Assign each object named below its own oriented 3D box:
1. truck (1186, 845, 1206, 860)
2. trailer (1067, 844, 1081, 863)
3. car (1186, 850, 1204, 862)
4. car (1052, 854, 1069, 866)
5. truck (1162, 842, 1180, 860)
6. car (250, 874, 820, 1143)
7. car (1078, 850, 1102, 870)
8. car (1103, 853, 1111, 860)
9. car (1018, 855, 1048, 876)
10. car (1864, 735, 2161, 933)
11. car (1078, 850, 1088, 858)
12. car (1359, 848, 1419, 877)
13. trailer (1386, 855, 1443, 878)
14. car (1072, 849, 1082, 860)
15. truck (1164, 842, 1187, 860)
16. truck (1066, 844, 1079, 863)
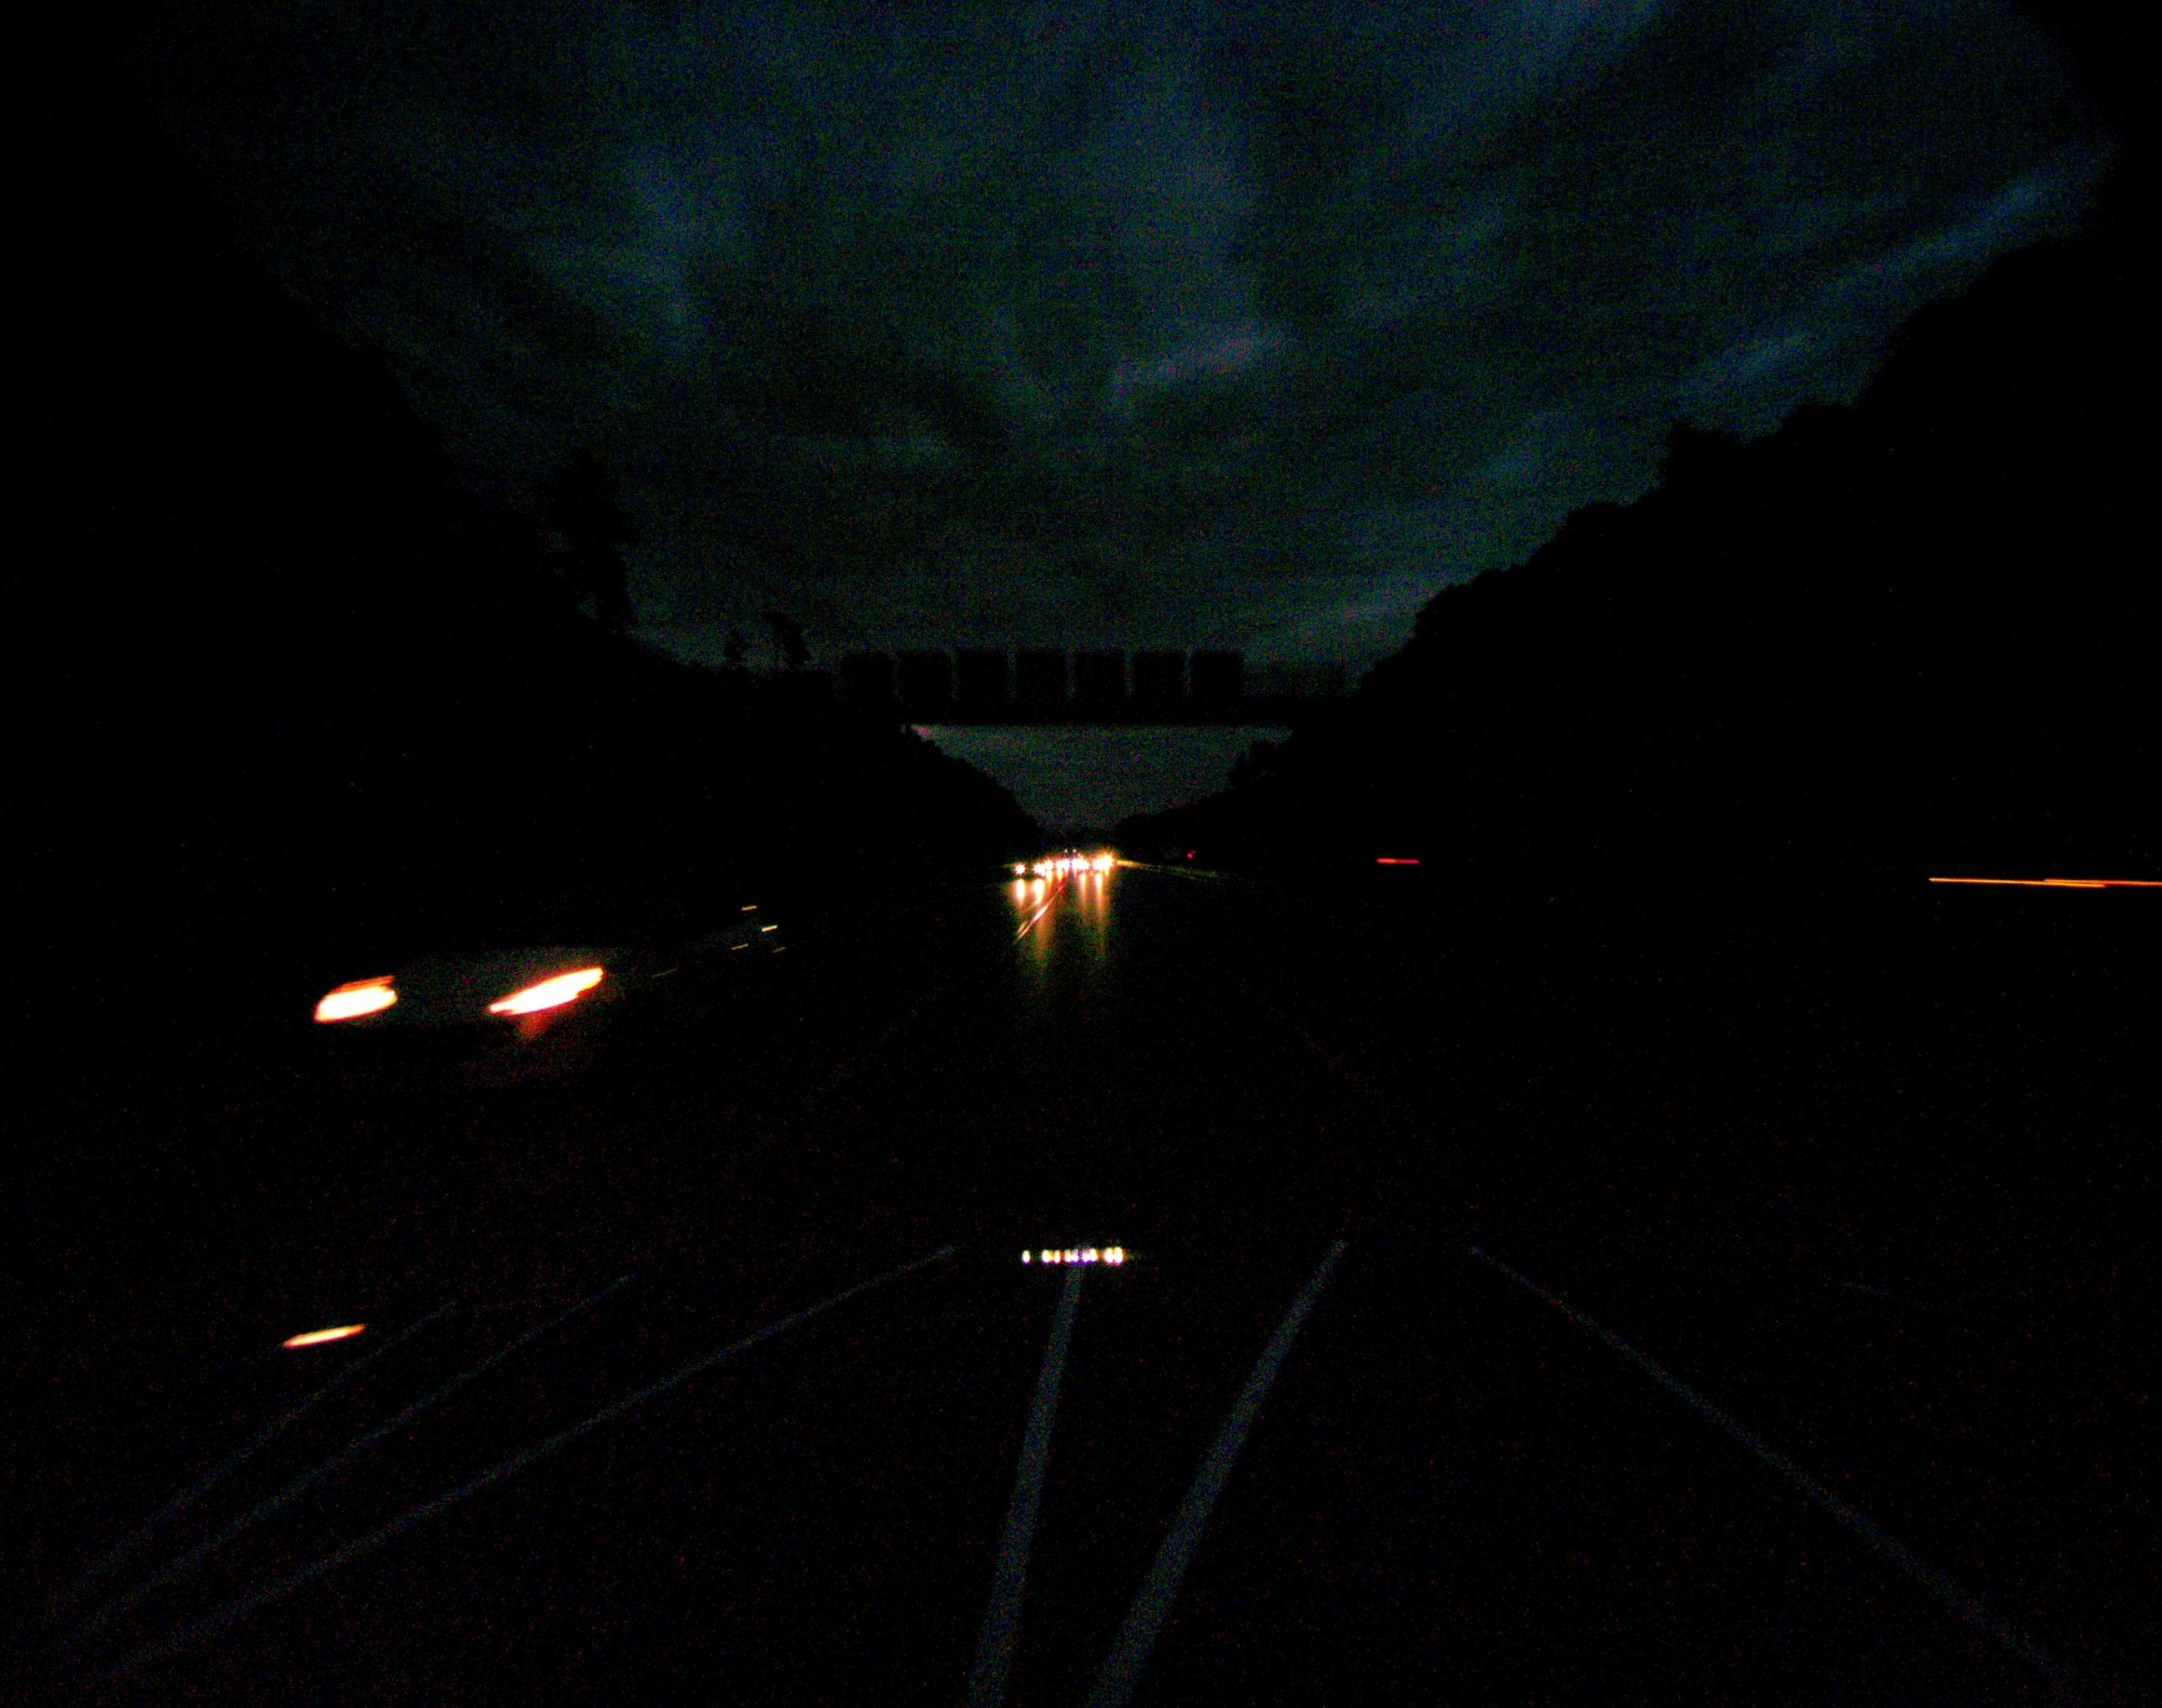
[{"bbox_3d":[20.259,-0.179,134.342,2.467,2.495,9.756,-2,0,2],"label":"truck"},{"bbox_3d":[-1.622,-0.309,175.379,2.489,4.050,13.503,-2,1,2],"label":"trailer"},{"bbox_3d":[15.792,0.267,105.282,1.740,1.705,4.714,-1,0,0],"label":"car"},{"bbox_3d":[-2.537,0.737,95.054,1.695,1.481,4.949,-1,0,2],"label":"car"},{"bbox_3d":[21.057,-0.700,177.501,3.389,3.980,6.879,-1,0,0],"label":"truck"},{"bbox_3d":[-3.975,0.969,6.682,1.830,1.467,4.398,0,0,0],"label":"car"},{"bbox_3d":[0.853,0.557,70.189,1.869,1.700,4.585,-3,0,5],"label":"car"},{"bbox_3d":[5.959,0.474,172.748,1.695,1.481,4.949,-1,0,1],"label":"car"},{"bbox_3d":[-3.482,0.822,55.926,1.870,1.427,4.583,-3,0,0],"label":"car"},{"bbox_3d":[19.174,-0.348,13.253,2.620,3.265,8.228,-1,0,1],"label":"car"},{"bbox_3d":[0.365,0.009,138.620,1.695,1.481,4.949,-1,0,1],"label":"car"},{"bbox_3d":[19.620,0.501,48.555,1.998,1.725,4.573,-2,0,1],"label":"car"},{"bbox_3d":[19.560,0.725,44.699,1.998,1.241,3.122,-2,0,1],"label":"trailer"},{"bbox_3d":[-1.372,0.123,258.835,2.998,3.659,10.000,-1,0,1],"label":"car"},{"bbox_3d":[21.039,-0.635,170.721,3.365,3.980,14.496,-1,0,0],"label":"truck"},{"bbox_3d":[-1.867,-0.104,168.046,2.497,3.945,5.590,-2,1,3],"label":"truck"}]
